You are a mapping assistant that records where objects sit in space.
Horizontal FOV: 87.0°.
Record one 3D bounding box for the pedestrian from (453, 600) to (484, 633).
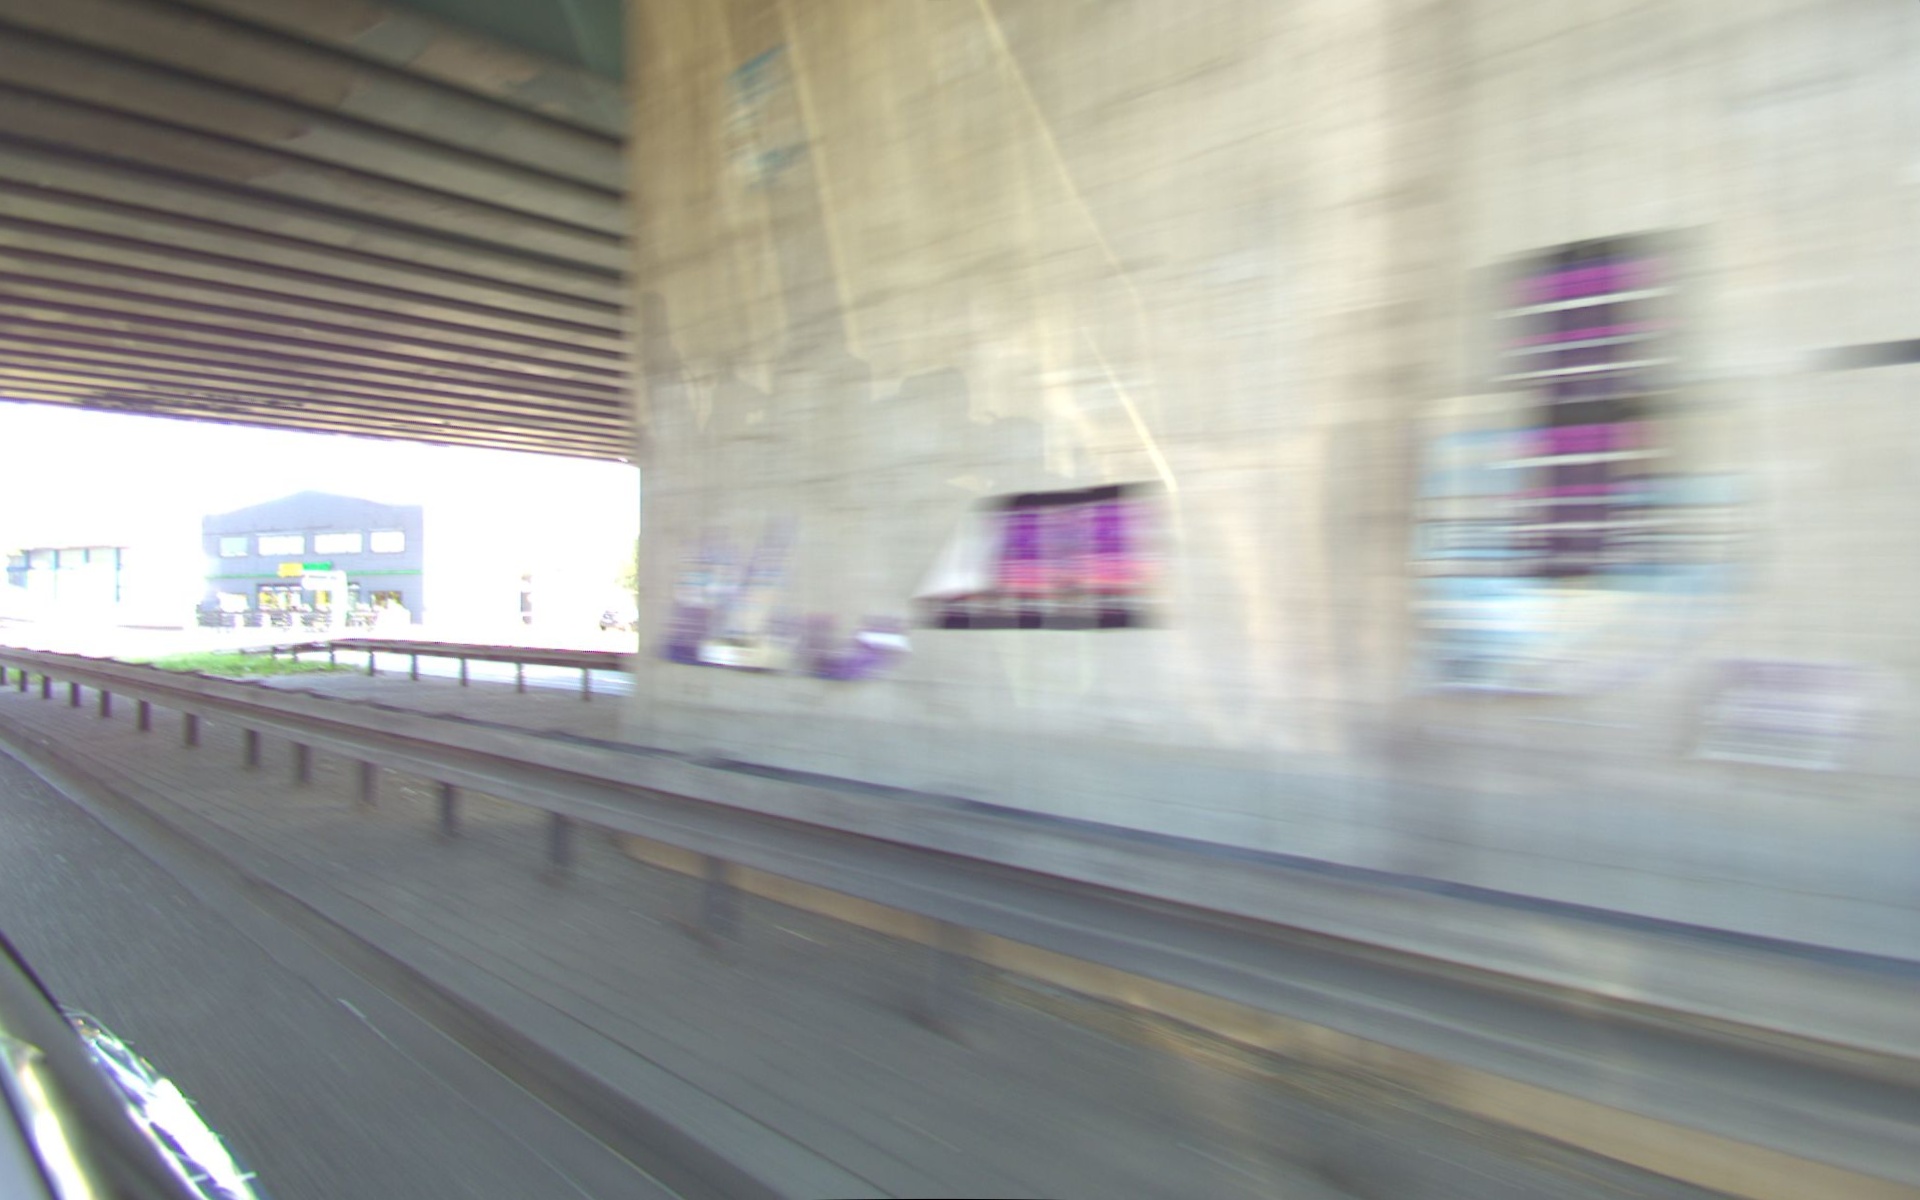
[{"bbox_3d":[-28.283,0.960,58.205,1.083,1.849,1.260,0,0,37],"label":"pedestrian"}]
